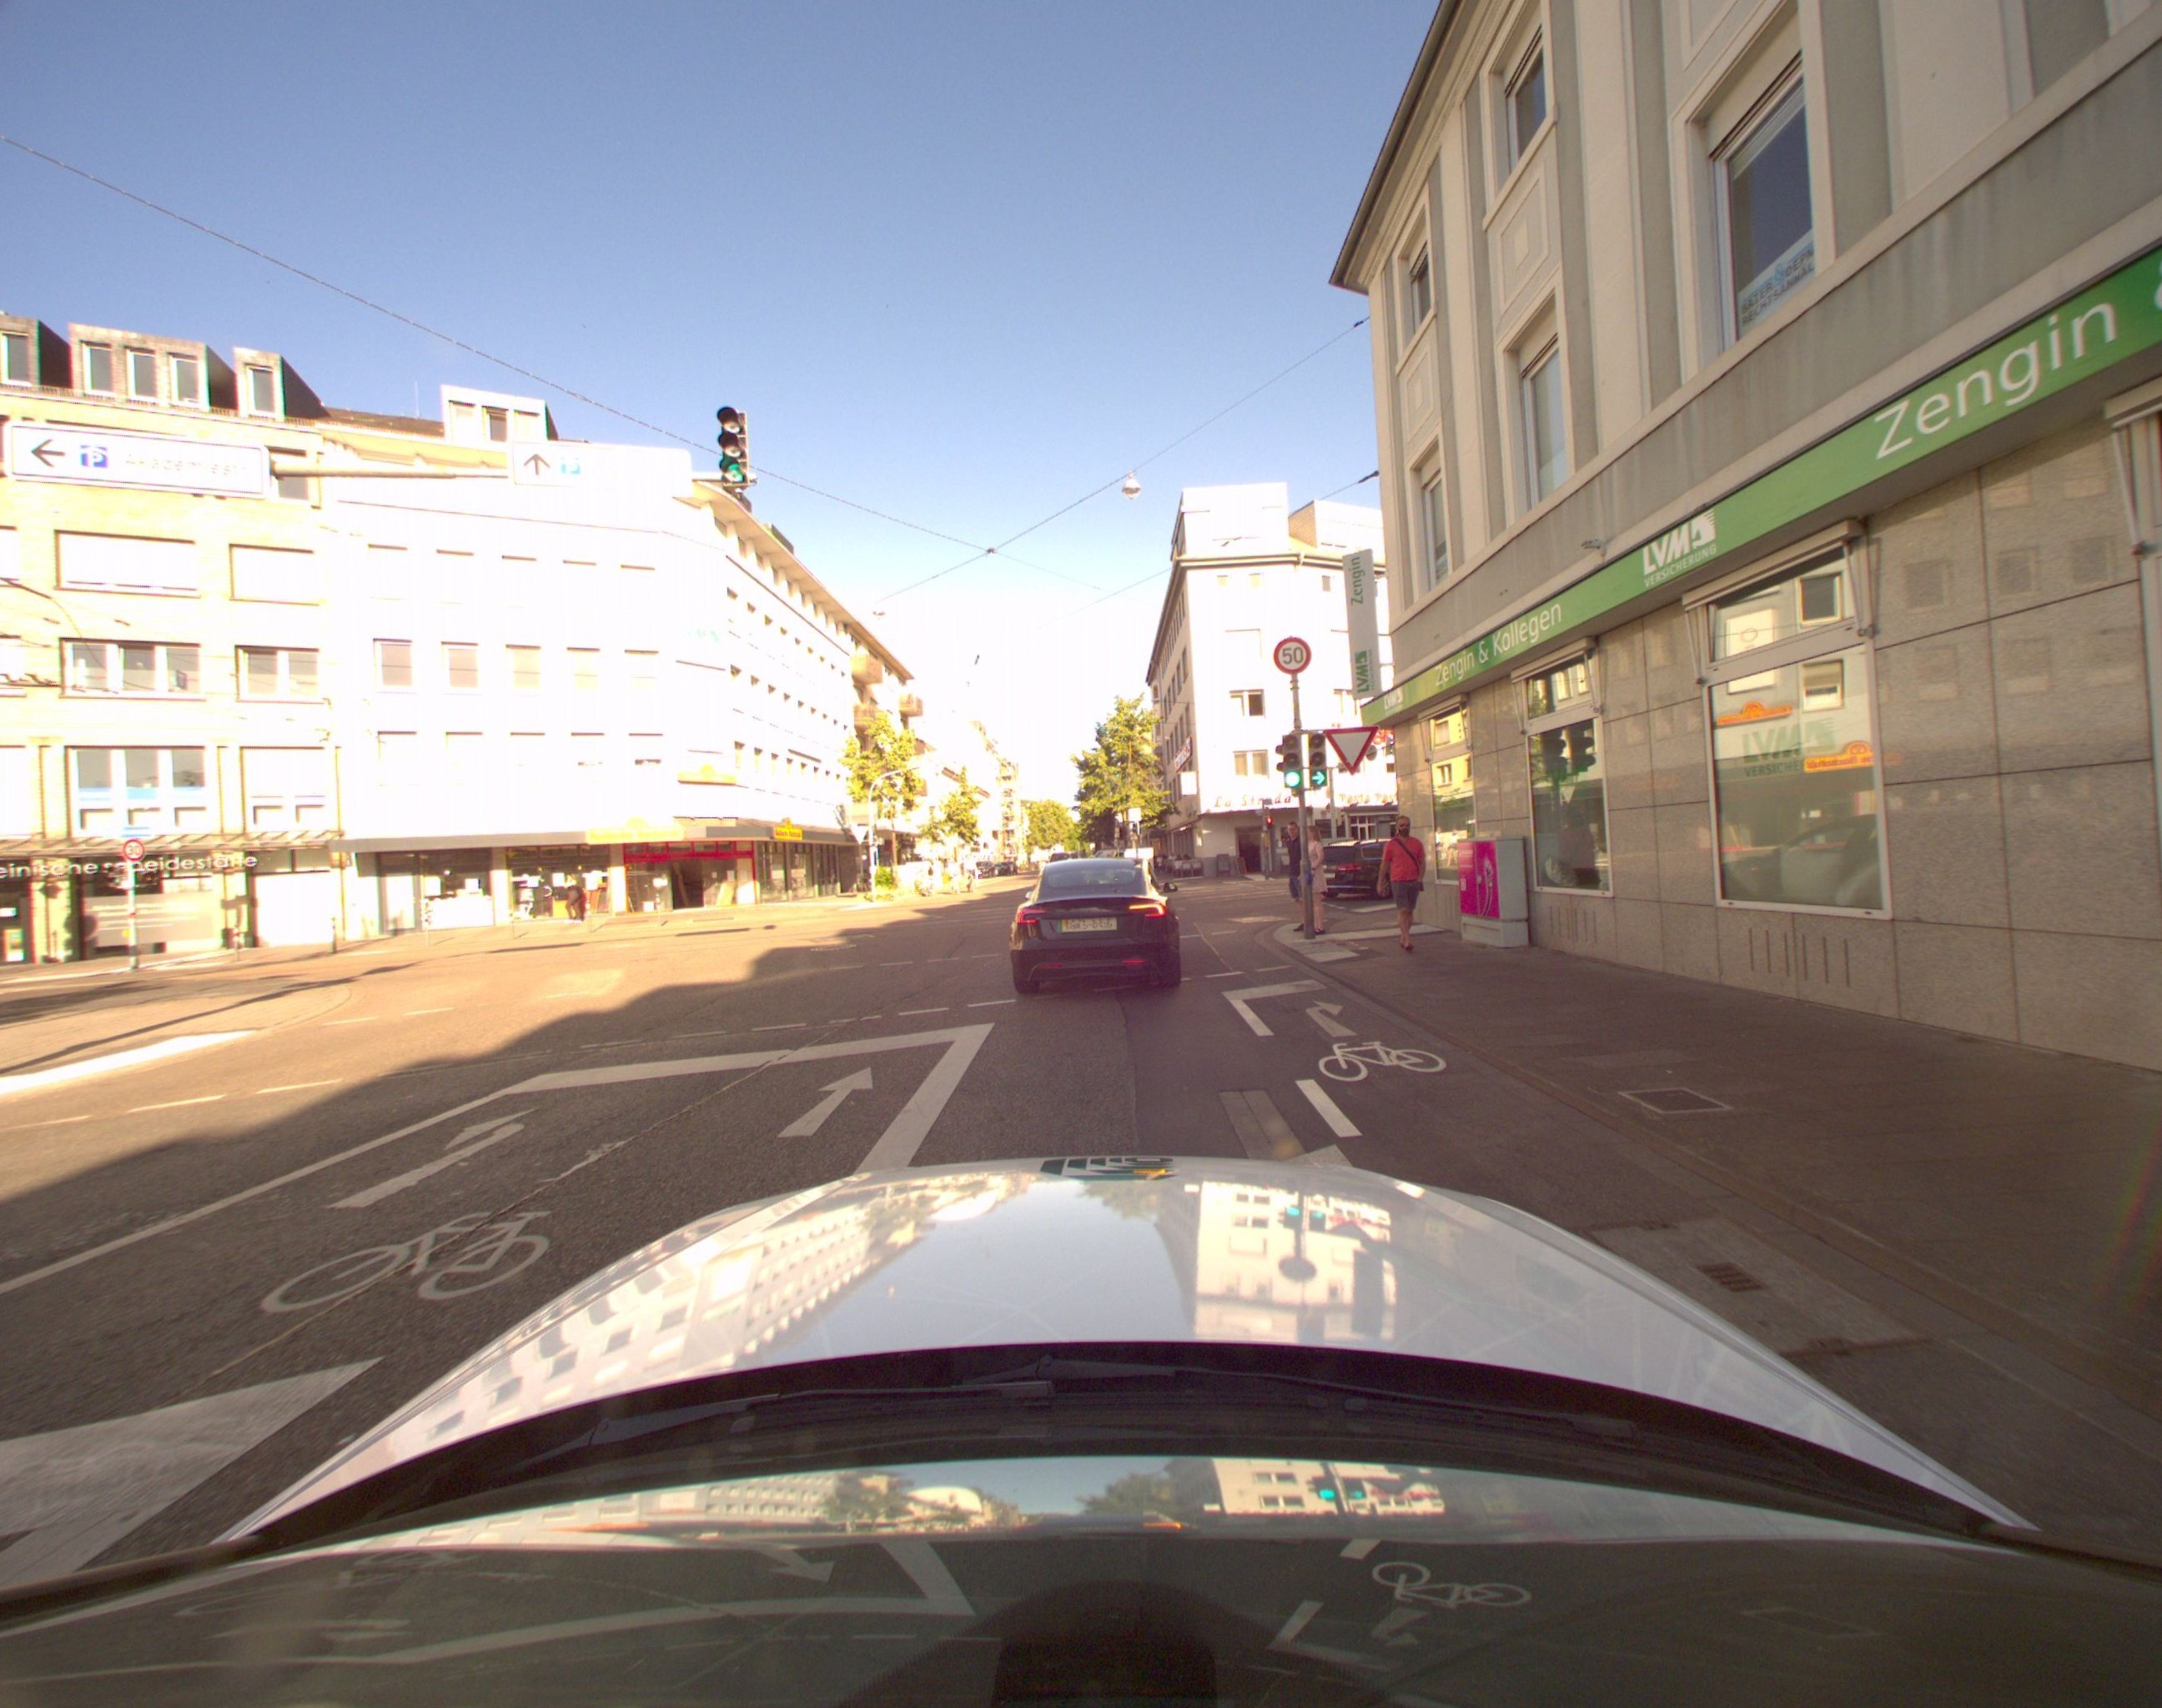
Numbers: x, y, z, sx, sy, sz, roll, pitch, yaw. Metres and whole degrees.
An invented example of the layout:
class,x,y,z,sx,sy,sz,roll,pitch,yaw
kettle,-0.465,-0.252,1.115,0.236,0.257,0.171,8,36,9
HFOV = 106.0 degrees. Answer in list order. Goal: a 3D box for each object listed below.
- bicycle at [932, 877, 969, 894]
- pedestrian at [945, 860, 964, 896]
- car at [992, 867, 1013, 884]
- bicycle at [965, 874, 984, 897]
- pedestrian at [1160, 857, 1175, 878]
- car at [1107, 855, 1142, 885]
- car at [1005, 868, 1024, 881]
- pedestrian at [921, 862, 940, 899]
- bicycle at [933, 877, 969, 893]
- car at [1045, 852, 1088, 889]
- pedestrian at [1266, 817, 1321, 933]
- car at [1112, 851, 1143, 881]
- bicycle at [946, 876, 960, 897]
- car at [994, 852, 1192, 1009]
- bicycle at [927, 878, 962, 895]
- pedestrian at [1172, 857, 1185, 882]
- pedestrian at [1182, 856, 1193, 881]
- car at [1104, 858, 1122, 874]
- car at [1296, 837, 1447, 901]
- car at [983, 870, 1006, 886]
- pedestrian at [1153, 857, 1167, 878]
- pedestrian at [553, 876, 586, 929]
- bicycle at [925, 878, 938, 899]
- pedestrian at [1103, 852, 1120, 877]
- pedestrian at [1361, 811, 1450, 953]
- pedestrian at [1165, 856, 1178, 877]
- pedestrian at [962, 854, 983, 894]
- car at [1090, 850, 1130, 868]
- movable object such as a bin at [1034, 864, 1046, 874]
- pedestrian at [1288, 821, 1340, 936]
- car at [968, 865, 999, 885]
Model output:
class,x,y,z,sx,sy,sz,roll,pitch,yaw
bicycle,-8.891,2.129,55.548,2.389,0.978,0.654,-3,-1,-10
pedestrian,-6.214,1.157,39.960,0.779,1.728,0.557,-2,-1,-14
car,-8.260,2.255,86.098,1.712,1.610,3.597,-4,-1,1
bicycle,-5.249,1.521,39.988,0.758,1.007,1.719,-6,0,-10
pedestrian,5.709,0.889,53.749,0.728,1.347,1.059,-4,-1,-1
car,2.623,0.947,49.969,1.994,1.636,4.289,-3,-1,1
car,-7.397,2.268,90.939,1.780,1.402,3.905,-3,-1,0
pedestrian,-7.202,1.267,38.881,0.791,1.712,0.651,-2,-1,-14
bicycle,-9.008,2.143,56.384,2.397,1.006,0.653,-3,-1,-10
car,-0.696,0.825,42.091,1.897,1.733,4.289,-3,-1,1
pedestrian,3.518,0.346,13.531,0.637,1.842,0.681,-3,-1,1
car,3.181,0.819,56.393,1.897,1.852,4.289,-3,-1,1
bicycle,-6.287,1.597,39.969,0.552,0.968,1.788,-4,-1,-10
car,0.206,0.752,10.190,1.862,1.427,4.367,-3,0,2
bicycle,-8.978,2.134,53.498,2.221,0.958,0.653,-3,-1,-12
pedestrian,5.314,0.826,44.255,0.584,1.313,0.560,-4,-1,1
pedestrian,5.884,0.799,45.028,0.485,1.322,0.655,-4,-1,9
car,3.929,1.460,99.955,1.986,1.824,4.002,-3,-1,2
car,7.479,0.348,20.734,4.379,1.418,1.746,-2,-1,-43
car,-8.551,2.338,81.019,1.780,1.402,3.905,-3,-1,0
pedestrian,5.336,0.921,54.864,0.707,1.347,1.059,-4,-1,-2
pedestrian,-17.346,1.638,27.621,0.557,1.709,0.712,-4,-1,-2
bicycle,-7.207,1.670,39.228,0.480,0.955,1.449,-4,-1,-13
pedestrian,2.481,0.861,66.445,0.950,1.915,1.110,-4,-1,17
pedestrian,4.145,0.346,10.477,0.687,1.703,0.913,-4,-1,2
pedestrian,6.119,0.871,55.014,0.728,1.360,0.959,-4,-1,1
pedestrian,-5.349,0.983,40.073,0.779,1.866,0.997,-6,0,-13
car,3.933,0.701,111.707,5.374,2.145,2.000,-4,-1,0
movable object such as a bin,-5.577,2.059,111.502,1.312,1.407,1.064,-3,-1,-16
pedestrian,3.708,0.381,12.985,0.570,1.759,0.649,-3,-1,1
car,-8.726,1.859,73.294,1.985,1.598,4.003,-3,-1,3
